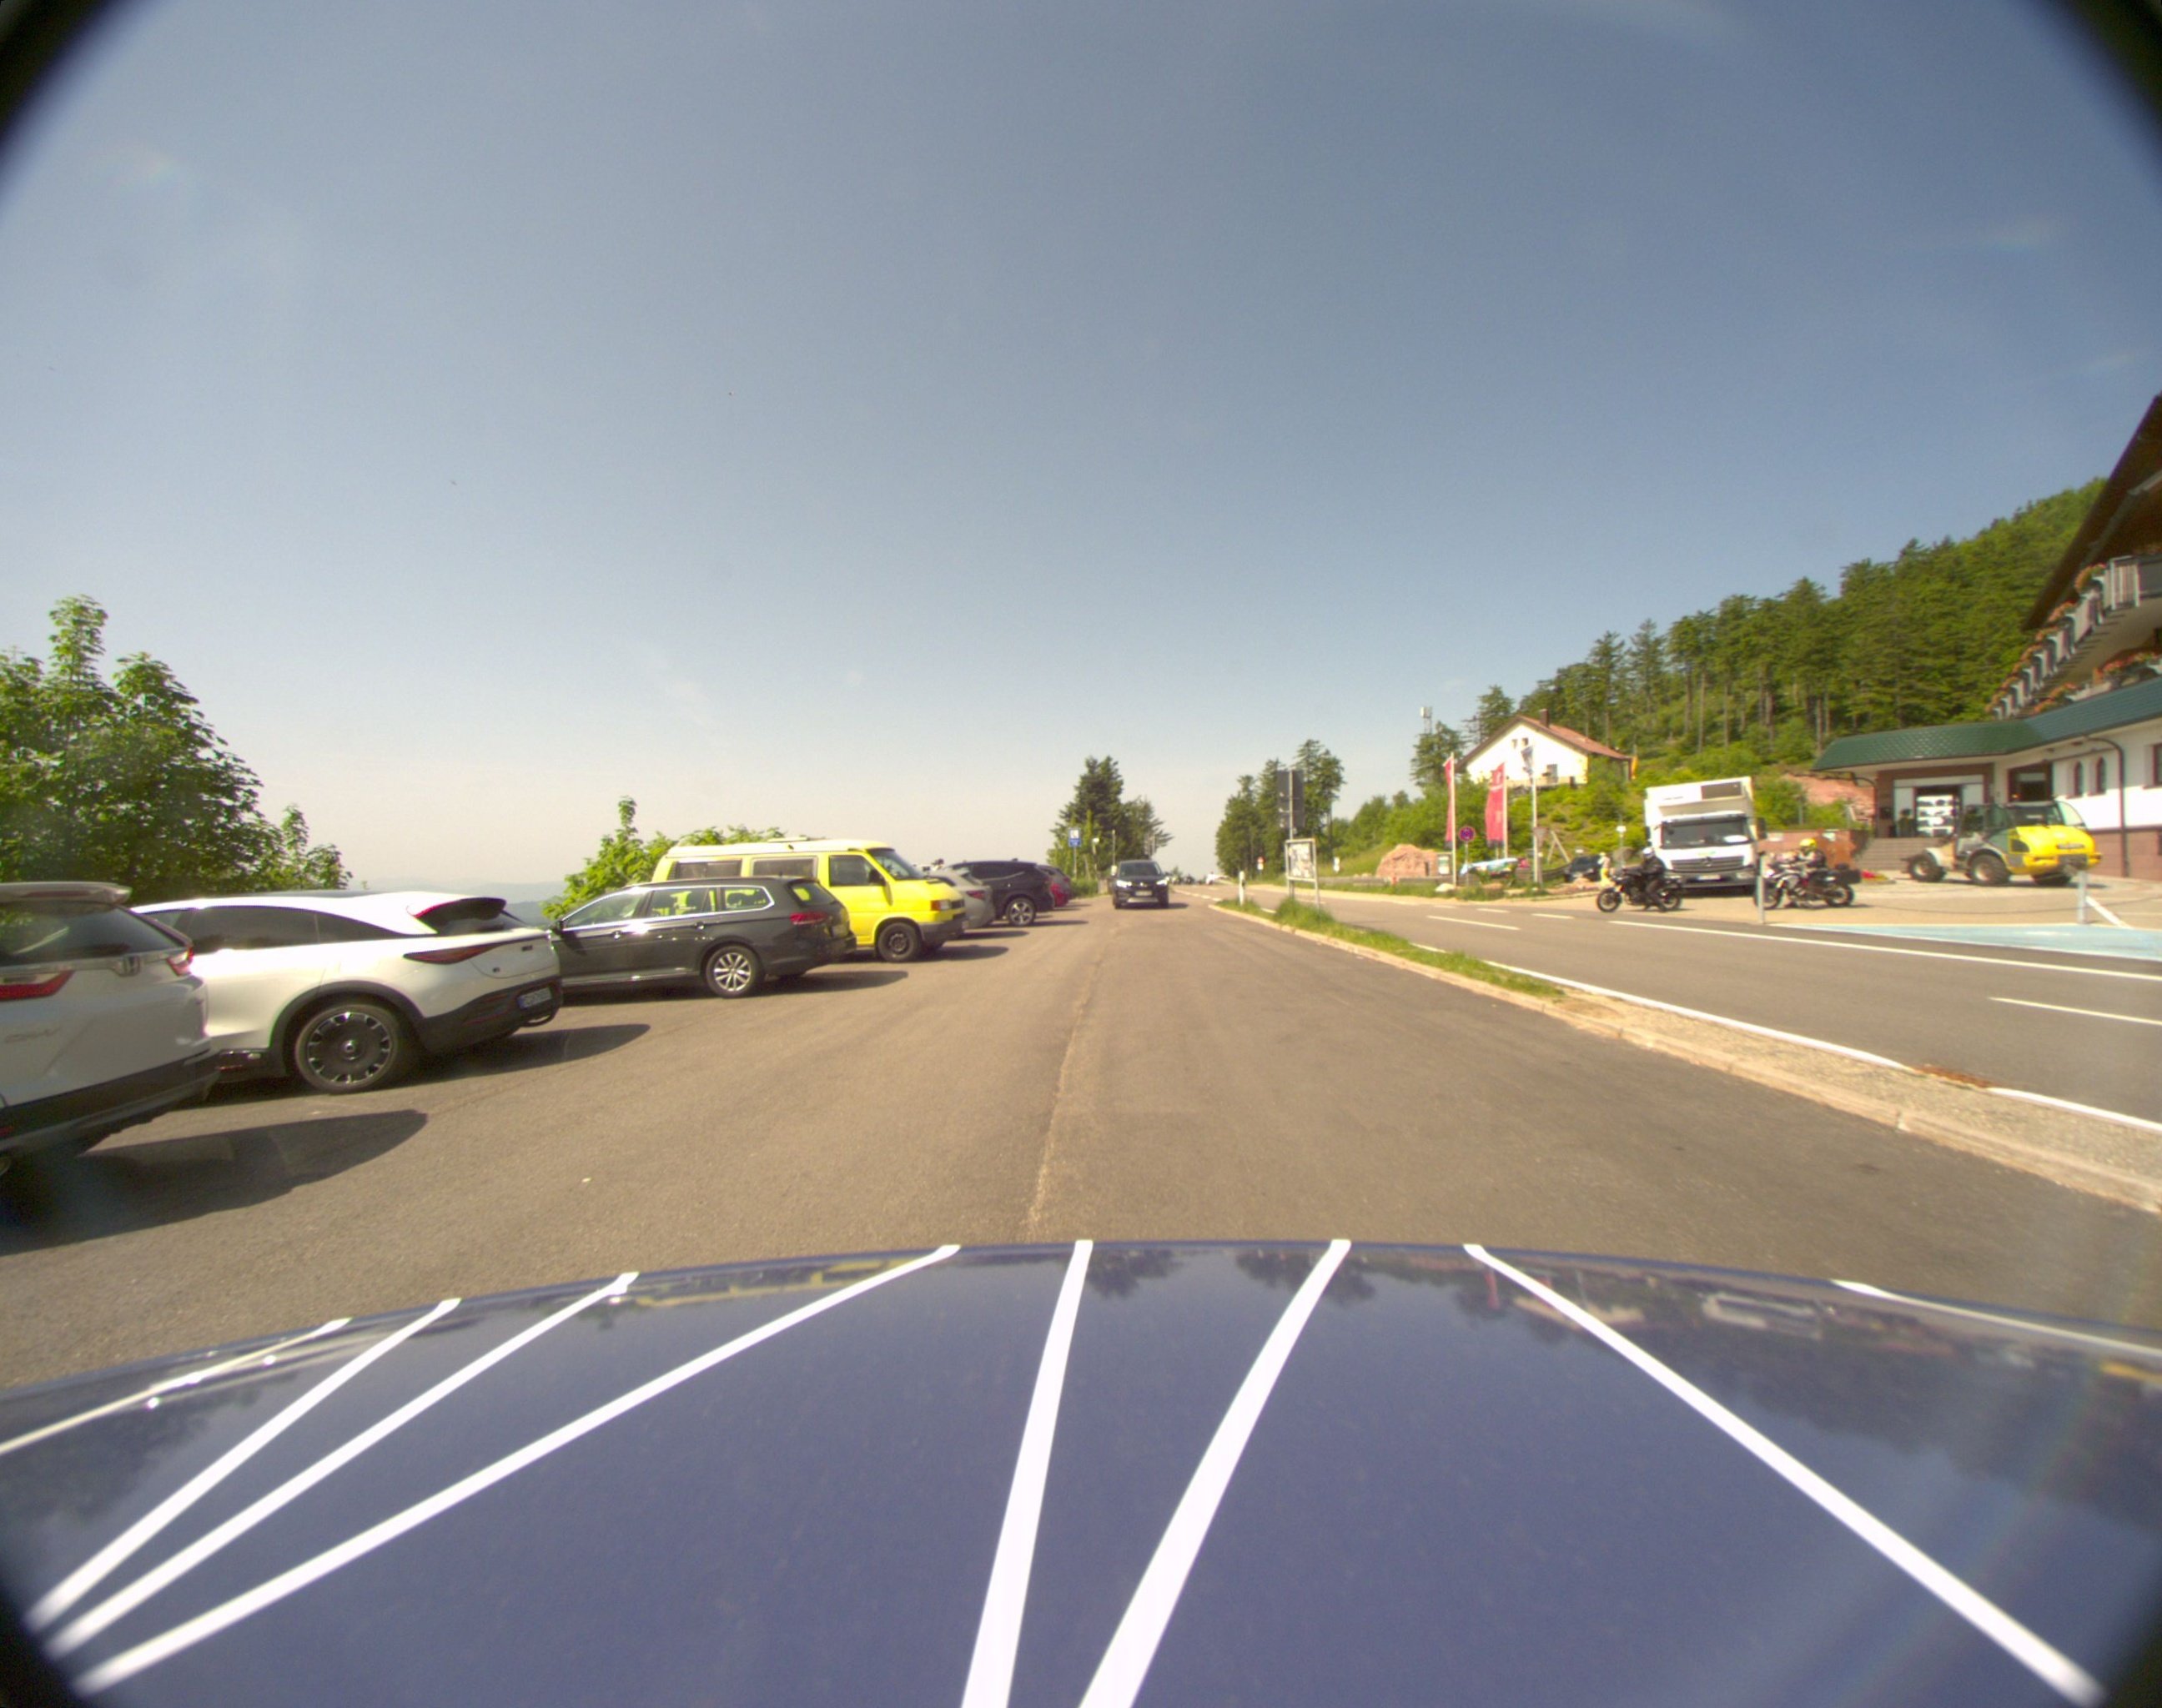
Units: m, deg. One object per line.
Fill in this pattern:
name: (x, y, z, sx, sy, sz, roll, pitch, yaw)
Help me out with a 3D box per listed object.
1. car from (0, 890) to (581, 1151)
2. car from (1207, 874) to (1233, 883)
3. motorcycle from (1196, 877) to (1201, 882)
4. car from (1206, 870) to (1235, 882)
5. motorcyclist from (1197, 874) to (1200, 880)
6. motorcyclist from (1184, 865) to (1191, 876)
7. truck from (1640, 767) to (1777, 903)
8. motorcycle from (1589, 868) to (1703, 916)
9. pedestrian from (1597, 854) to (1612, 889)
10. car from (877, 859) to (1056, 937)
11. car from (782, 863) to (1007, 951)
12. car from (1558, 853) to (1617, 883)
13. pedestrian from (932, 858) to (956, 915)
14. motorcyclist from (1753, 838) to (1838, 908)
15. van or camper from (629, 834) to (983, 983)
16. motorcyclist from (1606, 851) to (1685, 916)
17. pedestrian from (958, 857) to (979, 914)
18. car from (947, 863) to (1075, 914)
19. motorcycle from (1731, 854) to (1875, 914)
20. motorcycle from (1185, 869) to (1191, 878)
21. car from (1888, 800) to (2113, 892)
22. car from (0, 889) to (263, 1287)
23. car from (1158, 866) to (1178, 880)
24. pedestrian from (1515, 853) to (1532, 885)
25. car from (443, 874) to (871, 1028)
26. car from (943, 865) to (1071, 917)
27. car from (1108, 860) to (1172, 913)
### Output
car: (-6.748, 1.185, 6.071, 4.100, 1.491, 1.942, -2, 1, -12)
car: (22.512, 3.956, 123.475, 3.927, 1.365, 1.933, 2, -1, 3)
motorcycle: (27.576, 6.053, 178.172, 0.840, 1.089, 2.185, -1, 0, 13)
car: (24.731, 3.907, 134.705, 4.728, 1.870, 1.933, 2, -1, 3)
motorcyclist: (27.549, 5.401, 178.108, 0.840, 1.432, 1.006, 0, 0, 12)
motorcyclist: (15.977, 2.491, 113.742, 0.881, 1.632, 1.300, 1, 0, 4)
truck: (21.699, -0.633, 26.673, 3.062, 3.949, 8.788, -4, 0, 37)
motorcycle: (15.138, 1.008, 20.420, 2.273, 1.249, 0.880, -1, -1, 16)
pedestrian: (25.294, 0.846, 36.690, 0.573, 1.679, 0.654, 0, 0, 36)
car: (-2.687, 1.010, 18.392, 3.999, 1.604, 1.916, -2, 0, -5)
car: (-3.765, 1.054, 15.784, 4.160, 1.579, 1.705, -2, 0, 3)
car: (30.097, 0.799, 45.107, 4.006, 1.347, 1.874, -6, 4, -40)
pedestrian: (-4.725, 1.105, 26.149, 0.610, 1.889, 0.679, -3, 0, -1)
motorcyclist: (18.237, 0.481, 19.443, 1.245, 1.710, 1.066, -2, 1, 22)
van or camper: (-4.393, 0.865, 12.626, 5.101, 2.001, 1.883, -4, -1, 4)
motorcyclist: (15.096, 0.784, 20.371, 1.449, 1.707, 0.927, -1, 0, 16)
pedestrian: (-3.484, 0.966, 23.439, 0.505, 1.714, 0.566, -3, 1, -13)
car: (-2.551, 1.218, 27.685, 4.410, 1.559, 1.907, -3, -1, -6)
motorcycle: (18.372, 0.768, 19.424, 2.439, 1.398, 1.007, -2, 0, 22)
motorcycle: (15.998, 2.884, 113.810, 0.813, 1.258, 2.328, 1, -1, 4)
car: (27.153, -0.268, 22.695, 1.997, 2.482, 4.001, 0, 2, 6)
car: (-6.847, 1.158, 3.165, 4.188, 1.640, 1.889, -4, 1, -20)
car: (9.884, 2.151, 86.769, 1.781, 1.448, 4.000, 0, -1, 0)
pedestrian: (23.738, 0.782, 40.789, 0.697, 1.706, 0.800, 0, 0, 36)
car: (-5.152, 1.147, 9.669, 4.361, 1.478, 1.813, -4, -1, 1)
car: (-2.465, 1.188, 25.034, 4.000, 1.500, 1.841, -2, -1, -9)
car: (1.932, 1.022, 25.742, 1.984, 1.607, 4.150, -1, 0, 2)
